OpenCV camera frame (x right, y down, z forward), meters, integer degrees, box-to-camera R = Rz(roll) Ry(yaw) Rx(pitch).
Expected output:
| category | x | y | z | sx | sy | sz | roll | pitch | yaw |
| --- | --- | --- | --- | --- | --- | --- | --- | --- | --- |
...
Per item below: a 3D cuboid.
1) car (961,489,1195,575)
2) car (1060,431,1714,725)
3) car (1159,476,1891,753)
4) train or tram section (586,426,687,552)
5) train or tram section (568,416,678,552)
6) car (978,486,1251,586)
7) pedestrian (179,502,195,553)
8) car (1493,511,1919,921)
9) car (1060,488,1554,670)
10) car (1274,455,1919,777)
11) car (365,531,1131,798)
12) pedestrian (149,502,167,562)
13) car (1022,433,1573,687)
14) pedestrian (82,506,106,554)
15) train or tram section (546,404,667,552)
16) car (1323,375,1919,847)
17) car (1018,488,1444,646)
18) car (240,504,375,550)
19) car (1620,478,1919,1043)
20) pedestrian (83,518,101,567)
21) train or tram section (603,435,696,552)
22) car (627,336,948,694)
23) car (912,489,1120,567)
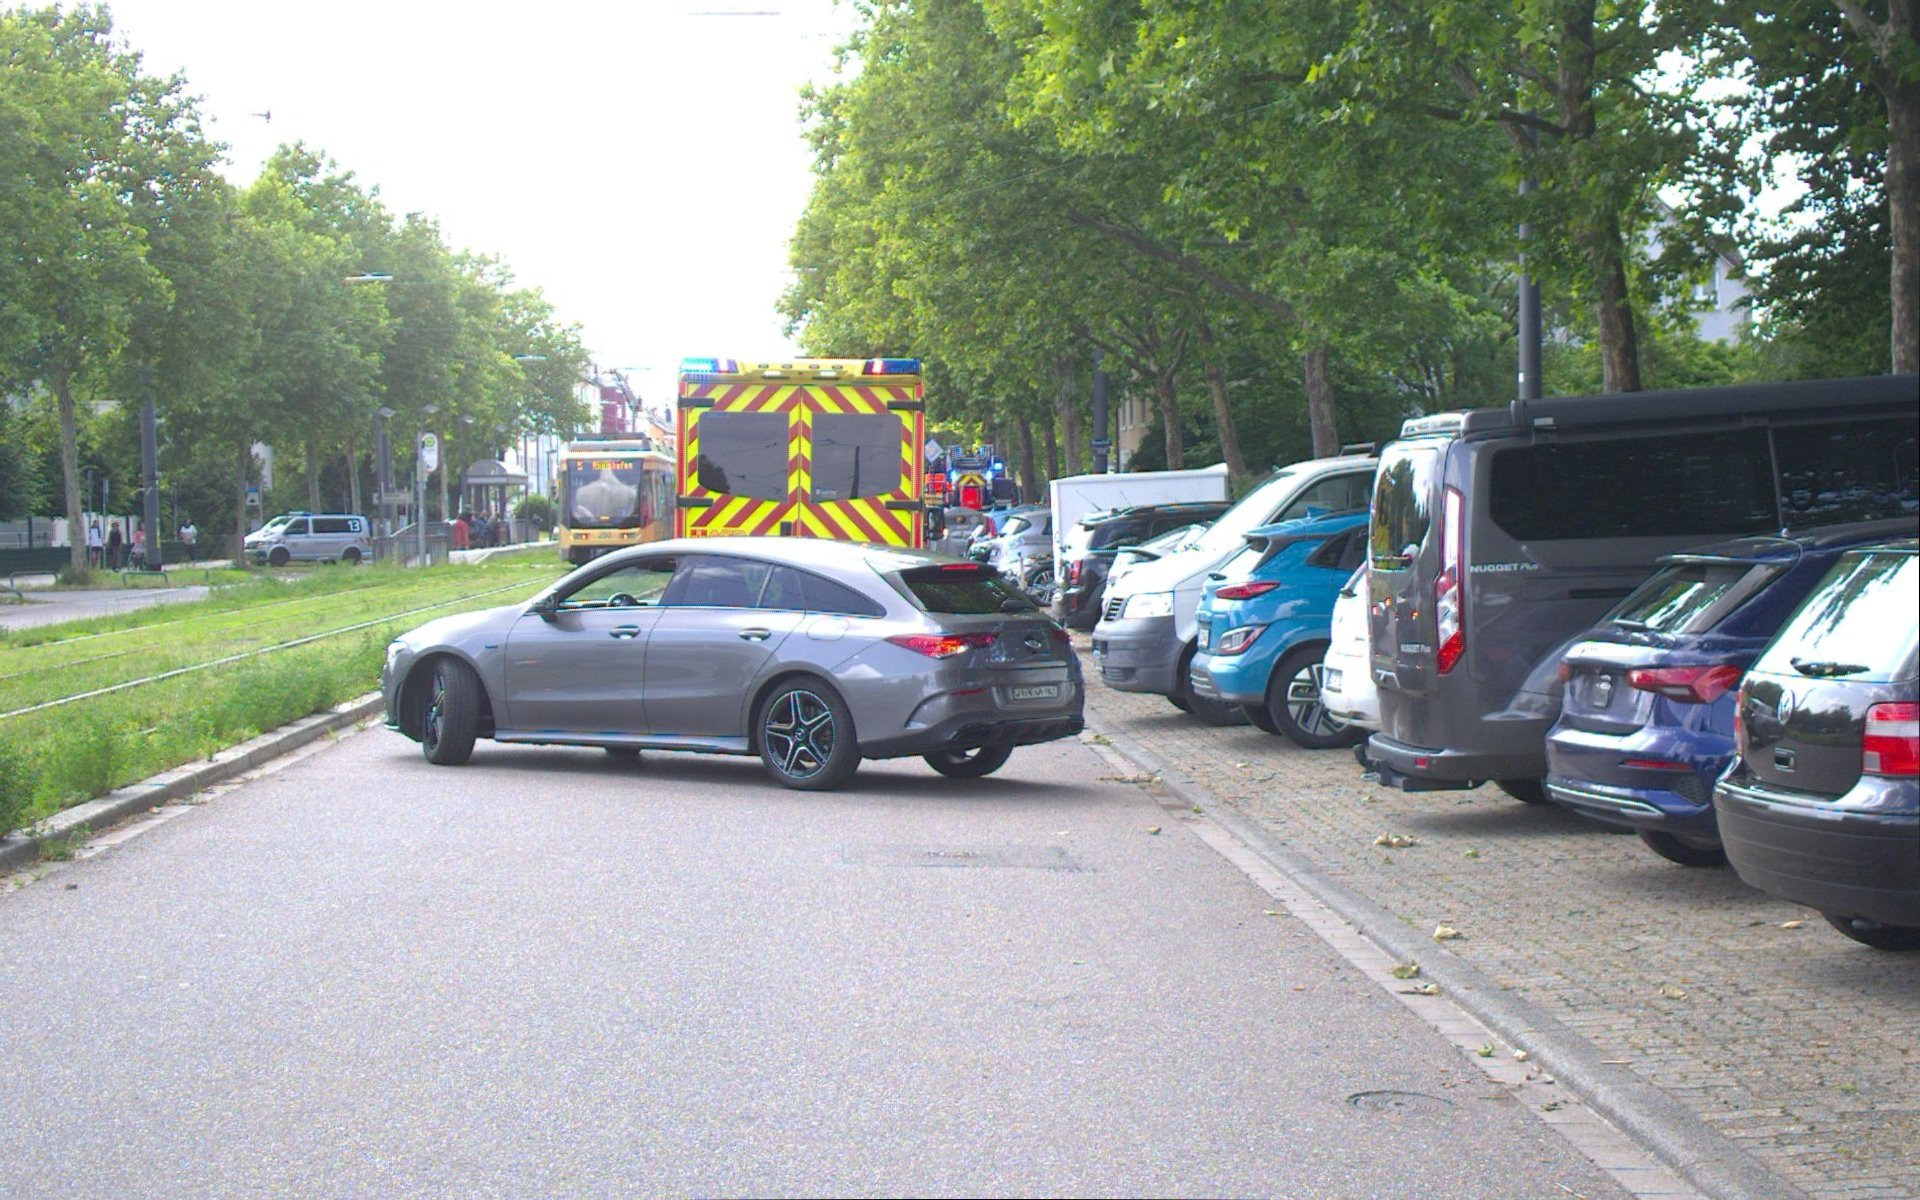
| category | x | y | z | sx | sy | sz | roll | pitch | yaw |
| --- | --- | --- | --- | --- | --- | --- | --- | --- | --- |
| car | 2.407 | -1.399 | 70.568 | 4.545 | 1.603 | 1.856 | -2 | 2 | -6 |
| car | 3.158 | -0.191 | 25.947 | 4.545 | 1.994 | 1.856 | -2 | 2 | -6 |
| car | 3.780 | 0.061 | 23.431 | 4.545 | 1.654 | 1.856 | -2 | 2 | -6 |
| train or tram section | -9.680 | -3.278 | 103.579 | 2.511 | 3.572 | 7.446 | -2 | 1 | -2 |
| train or tram section | -9.372 | -3.174 | 96.139 | 2.511 | 3.572 | 7.446 | -2 | 1 | -2 |
| car | 2.704 | -1.136 | 60.723 | 4.545 | 1.603 | 1.856 | -2 | 2 | -6 |
| pedestrian | -27.542 | -2.583 | 122.494 | 0.466 | 1.822 | 0.423 | -1 | 2 | -4 |
| car | 4.305 | 0.377 | 13.828 | 3.965 | 1.489 | 1.756 | -2 | 1 | -2 |
| car | 3.383 | -0.232 | 34.025 | 4.545 | 1.603 | 1.856 | -2 | 2 | -6 |
| car | 4.320 | 0.050 | 20.910 | 4.545 | 1.760 | 1.856 | -2 | 2 | -2 |
| car | -1.343 | 0.318 | 20.776 | 4.462 | 1.381 | 1.763 | 2 | 2 | 34 |
| pedestrian | -23.036 | -1.957 | 98.727 | 0.421 | 1.724 | 0.467 | -1 | 2 | -6 |
| car | 2.943 | -0.376 | 30.535 | 4.545 | 2.036 | 1.856 | -2 | 1 | -6 |
| pedestrian | -28.129 | -2.285 | 111.653 | 0.632 | 1.545 | 0.622 | -1 | 2 | -5 |
| train or tram section | -9.056 | -3.071 | 88.712 | 2.511 | 3.572 | 7.446 | -2 | 1 | -2 |
| car | 4.217 | -0.008 | 16.961 | 4.545 | 2.116 | 1.856 | -2 | 1 | -2 |
| car | 3.047 | -0.394 | 39.173 | 4.545 | 1.603 | 1.856 | -2 | 2 | -6 |
| car | -24.444 | -2.734 | 128.943 | 4.615 | 1.627 | 1.882 | -3 | 2 | -41 |
| car | 4.345 | 0.369 | 11.023 | 3.964 | 1.600 | 1.757 | -2 | 2 | -12 |
| pedestrian | -25.917 | -1.714 | 102.638 | 0.421 | 1.468 | 0.467 | -1 | 2 | -6 |
| train or tram section | -9.982 | -3.381 | 111.016 | 2.511 | 3.572 | 7.446 | -2 | 1 | -2 |
| car | -1.500 | -0.795 | 32.434 | 2.641 | 2.956 | 6.300 | 2 | 1 | -1 |
| car | 1.259 | -1.657 | 78.772 | 4.545 | 1.603 | 1.856 | -2 | 2 | -6 |
